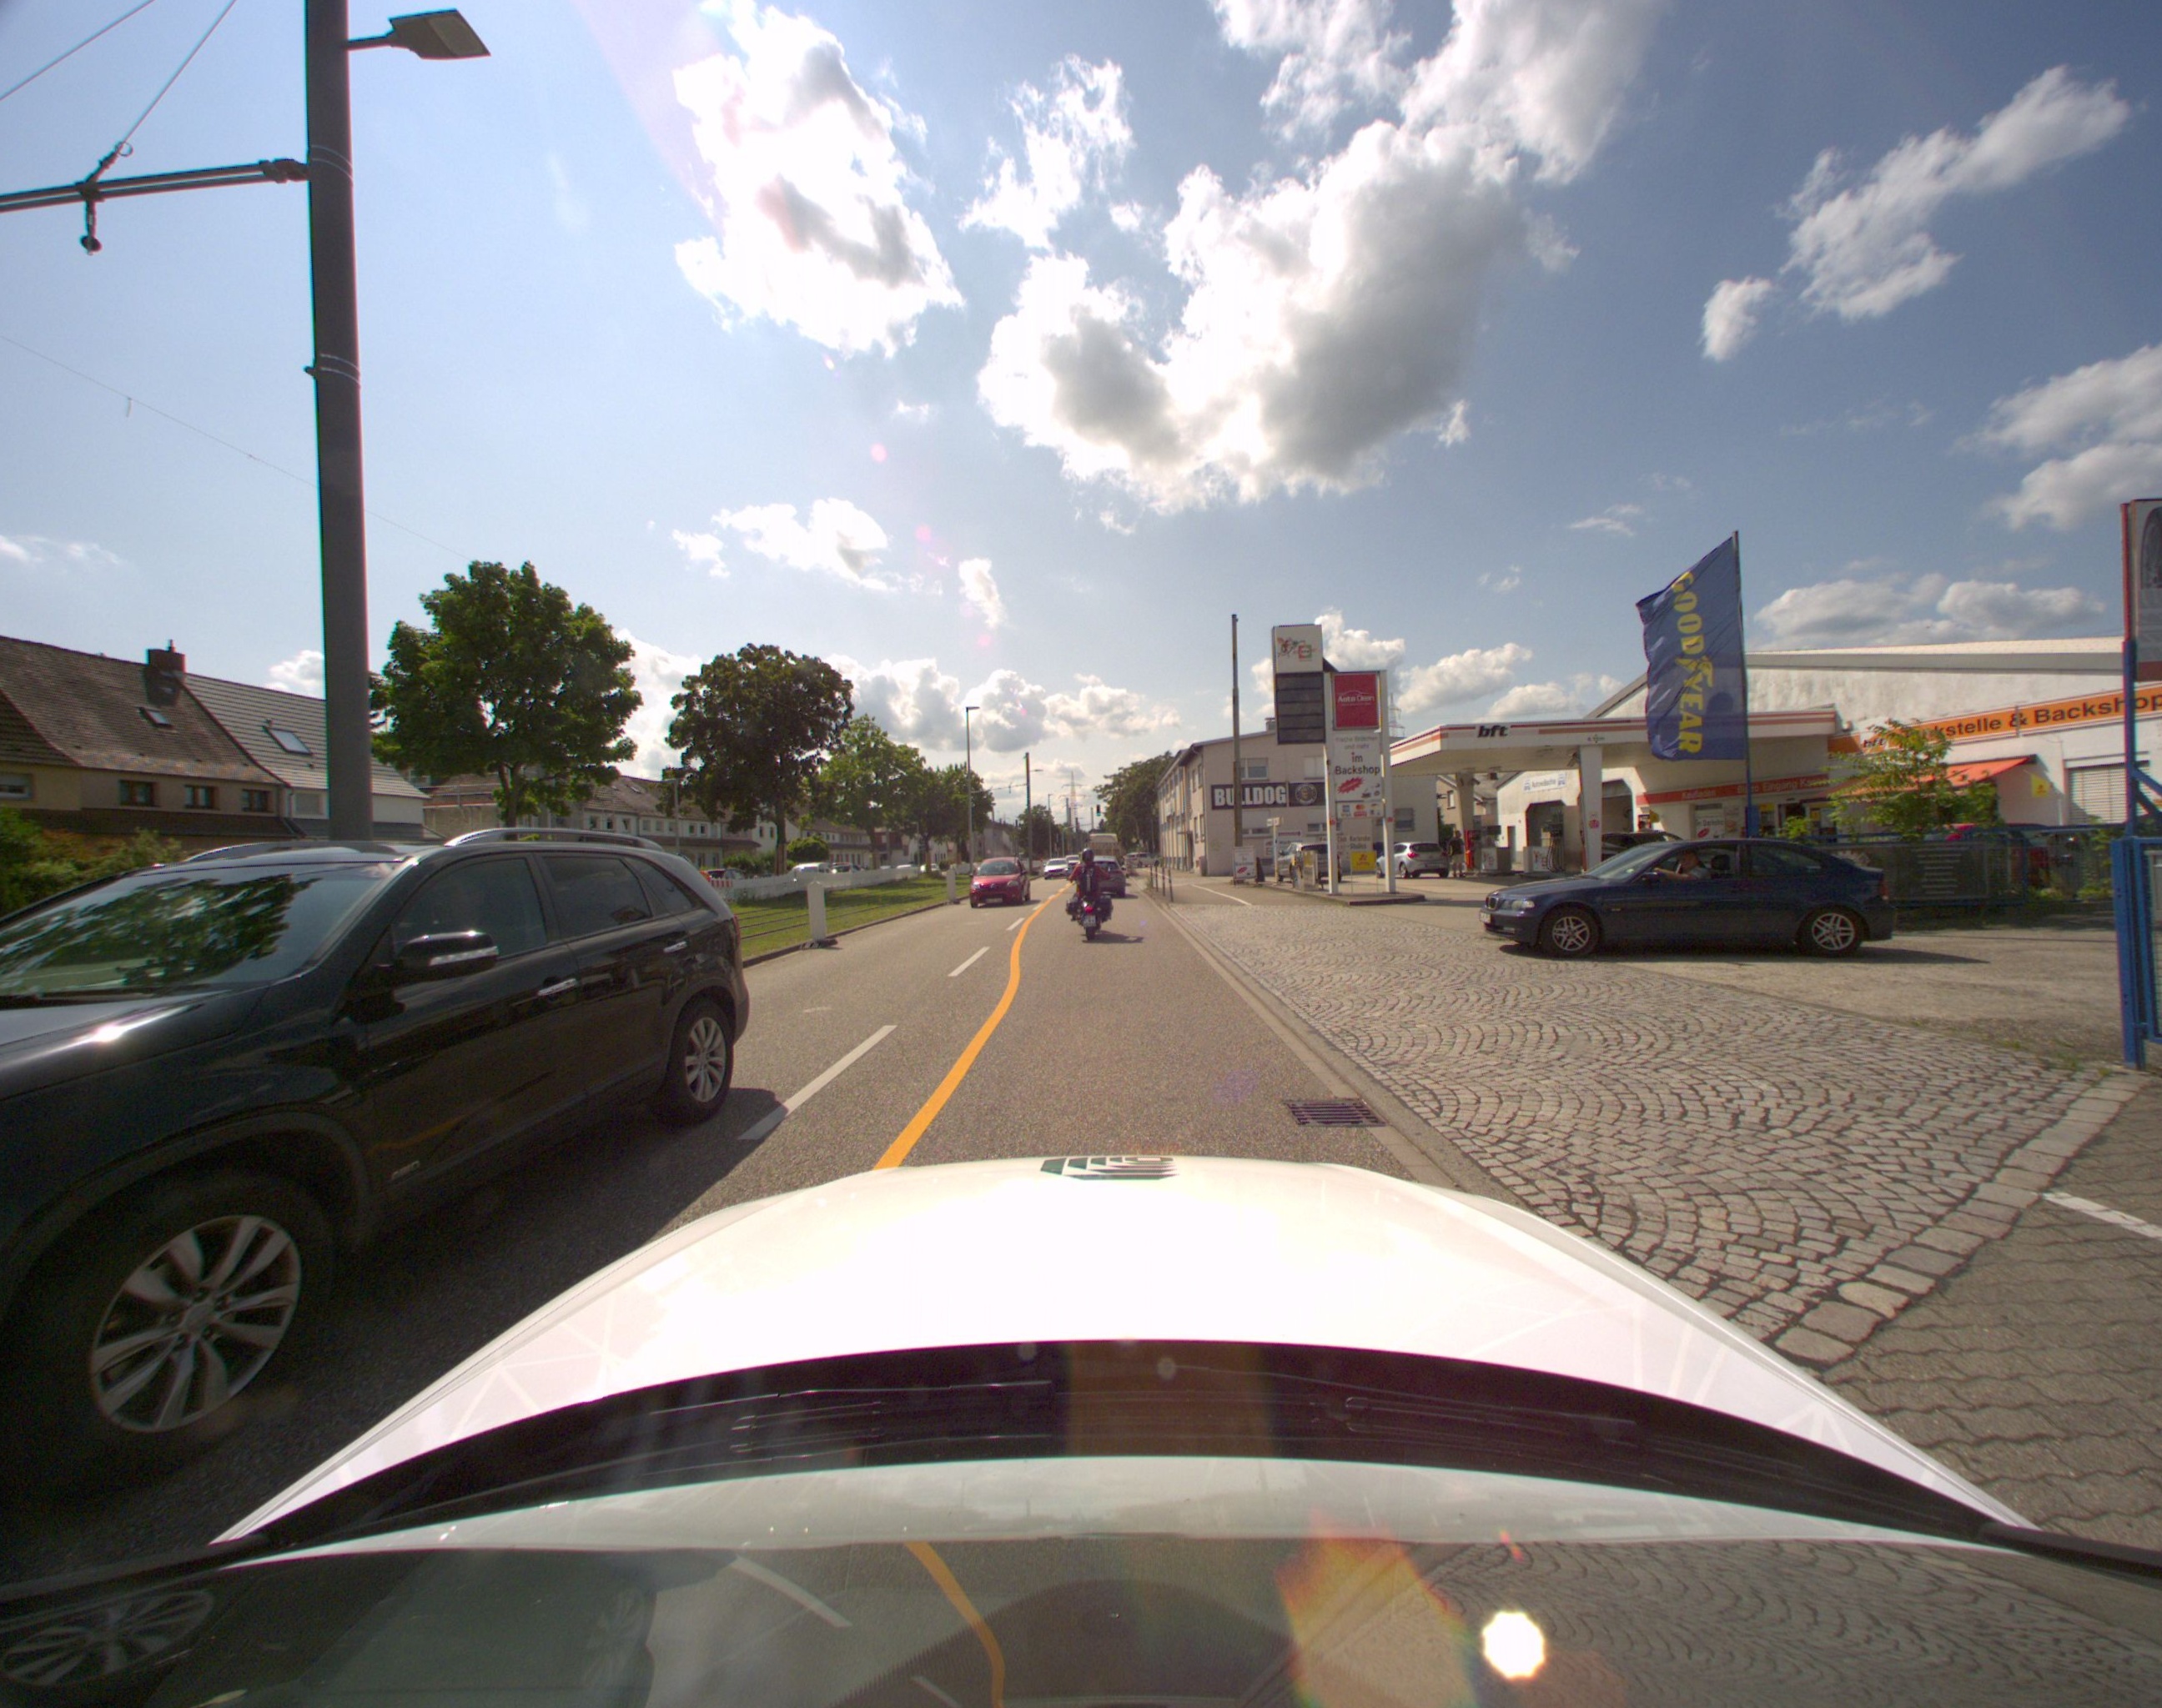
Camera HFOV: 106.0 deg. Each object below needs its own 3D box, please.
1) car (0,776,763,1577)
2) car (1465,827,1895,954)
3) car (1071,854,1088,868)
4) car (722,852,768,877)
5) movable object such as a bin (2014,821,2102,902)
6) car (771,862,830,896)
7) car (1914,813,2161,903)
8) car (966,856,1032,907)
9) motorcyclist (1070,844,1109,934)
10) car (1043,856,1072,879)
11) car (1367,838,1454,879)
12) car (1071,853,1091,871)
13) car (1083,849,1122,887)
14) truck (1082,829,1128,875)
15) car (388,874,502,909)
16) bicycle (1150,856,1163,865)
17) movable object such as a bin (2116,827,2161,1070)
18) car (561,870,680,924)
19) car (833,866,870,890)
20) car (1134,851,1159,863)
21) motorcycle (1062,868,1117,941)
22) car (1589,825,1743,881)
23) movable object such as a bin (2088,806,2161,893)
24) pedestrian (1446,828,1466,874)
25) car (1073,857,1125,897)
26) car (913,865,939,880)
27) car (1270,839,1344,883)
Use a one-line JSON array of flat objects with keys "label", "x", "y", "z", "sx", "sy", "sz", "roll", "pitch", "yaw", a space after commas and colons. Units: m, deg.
[{"label": "car", "x": -3.173, "y": 0.728, "z": 3.490, "sx": 1.790, "sy": 1.690, "sz": 4.222, "roll": -3, "pitch": 0, "yaw": 1}, {"label": "car", "x": 7.205, "y": 0.449, "z": 10.217, "sx": 4.027, "sy": 1.408, "sz": 1.652, "roll": -1, "pitch": -1, "yaw": 10}, {"label": "car", "x": -0.125, "y": 0.856, "z": 94.013, "sx": 1.686, "sy": 1.412, "sz": 3.860, "roll": -6, "pitch": -1, "yaw": 1}, {"label": "car", "x": -27.724, "y": 0.890, "z": 67.339, "sx": 1.986, "sy": 2.014, "sz": 4.001, "roll": 0, "pitch": -1, "yaw": 1}, {"label": "movable object such as a bin", "x": 16.132, "y": 0.122, "z": 13.463, "sx": 0.578, "sy": 1.297, "sz": 0.706, "roll": 0, "pitch": -1, "yaw": 0}, {"label": "car", "x": -14.940, "y": 1.319, "z": 43.609, "sx": 1.616, "sy": 1.651, "sz": 3.900, "roll": -3, "pitch": -1, "yaw": 2}, {"label": "car", "x": 18.154, "y": 0.037, "z": 14.781, "sx": 4.118, "sy": 1.424, "sz": 1.772, "roll": -3, "pitch": -1, "yaw": 2}, {"label": "car", "x": -2.577, "y": 0.843, "z": 26.375, "sx": 1.572, "sy": 1.469, "sz": 3.722, "roll": -2, "pitch": 0, "yaw": 2}, {"label": "motorcyclist", "x": 0.167, "y": 0.634, "z": 14.921, "sx": 0.695, "sy": 1.604, "sz": 0.692, "roll": 0, "pitch": -1, "yaw": 2}, {"label": "car", "x": -1.637, "y": 0.956, "z": 58.599, "sx": 1.815, "sy": 1.445, "sz": 4.484, "roll": -3, "pitch": -1, "yaw": 1}, {"label": "car", "x": 13.505, "y": 0.209, "z": 33.693, "sx": 1.687, "sy": 1.471, "sz": 4.421, "roll": -3, "pitch": -1, "yaw": -1}, {"label": "car", "x": 0.013, "y": 0.814, "z": 80.786, "sx": 1.818, "sy": 1.666, "sz": 4.463, "roll": -3, "pitch": -1, "yaw": 1}, {"label": "car", "x": 1.153, "y": 0.687, "z": 42.930, "sx": 1.894, "sy": 1.712, "sz": 4.722, "roll": -2, "pitch": 1, "yaw": 2}, {"label": "truck", "x": 1.871, "y": -0.088, "z": 59.529, "sx": 2.954, "sy": 3.173, "sz": 7.773, "roll": 0, "pitch": -1, "yaw": 5}, {"label": "car", "x": -27.429, "y": 1.585, "z": 35.307, "sx": 1.528, "sy": 1.275, "sz": 4.122, "roll": -3, "pitch": -1, "yaw": 2}, {"label": "bicycle", "x": 10.522, "y": 0.899, "z": 113.477, "sx": 1.698, "sy": 1.172, "sz": 0.439, "roll": 0, "pitch": -1, "yaw": 7}, {"label": "movable object such as a bin", "x": 6.948, "y": 0.510, "z": 3.841, "sx": 1.956, "sy": 1.347, "sz": 1.708, "roll": 0, "pitch": -1, "yaw": 1}, {"label": "car", "x": -15.788, "y": 1.428, "z": 28.159, "sx": 1.647, "sy": 1.626, "sz": 4.002, "roll": -3, "pitch": -1, "yaw": 2}, {"label": "car", "x": -14.606, "y": 1.511, "z": 52.009, "sx": 1.345, "sy": 1.377, "sz": 3.115, "roll": -3, "pitch": -1, "yaw": 2}, {"label": "car", "x": 10.677, "y": 0.569, "z": 132.955, "sx": 4.022, "sy": 1.926, "sz": 1.781, "roll": 0, "pitch": -1, "yaw": -43}, {"label": "motorcycle", "x": 0.186, "y": 0.873, "z": 15.038, "sx": 0.939, "sy": 1.200, "sz": 2.473, "roll": 0, "pitch": 0, "yaw": 2}, {"label": "car", "x": 18.062, "y": -0.076, "z": 25.454, "sx": 1.676, "sy": 1.519, "sz": 4.495, "roll": -3, "pitch": 1, "yaw": 2}, {"label": "movable object such as a bin", "x": 17.402, "y": -0.077, "z": 13.466, "sx": 0.579, "sy": 1.391, "sz": 0.706, "roll": -2, "pitch": 0, "yaw": 0}, {"label": "pedestrian", "x": 14.674, "y": -0.112, "z": 31.848, "sx": 0.495, "sy": 1.776, "sz": 0.577, "roll": 0, "pitch": -1, "yaw": -1}, {"label": "car", "x": 0.611, "y": 0.819, "z": 30.763, "sx": 1.727, "sy": 1.403, "sz": 4.082, "roll": 0, "pitch": 0, "yaw": -3}, {"label": "car", "x": -13.919, "y": 1.649, "z": 73.222, "sx": 1.516, "sy": 1.354, "sz": 3.623, "roll": 0, "pitch": -1, "yaw": 2}, {"label": "car", "x": 9.018, "y": 0.258, "z": 32.889, "sx": 1.937, "sy": 1.625, "sz": 4.619, "roll": -1, "pitch": 0, "yaw": 3}]
